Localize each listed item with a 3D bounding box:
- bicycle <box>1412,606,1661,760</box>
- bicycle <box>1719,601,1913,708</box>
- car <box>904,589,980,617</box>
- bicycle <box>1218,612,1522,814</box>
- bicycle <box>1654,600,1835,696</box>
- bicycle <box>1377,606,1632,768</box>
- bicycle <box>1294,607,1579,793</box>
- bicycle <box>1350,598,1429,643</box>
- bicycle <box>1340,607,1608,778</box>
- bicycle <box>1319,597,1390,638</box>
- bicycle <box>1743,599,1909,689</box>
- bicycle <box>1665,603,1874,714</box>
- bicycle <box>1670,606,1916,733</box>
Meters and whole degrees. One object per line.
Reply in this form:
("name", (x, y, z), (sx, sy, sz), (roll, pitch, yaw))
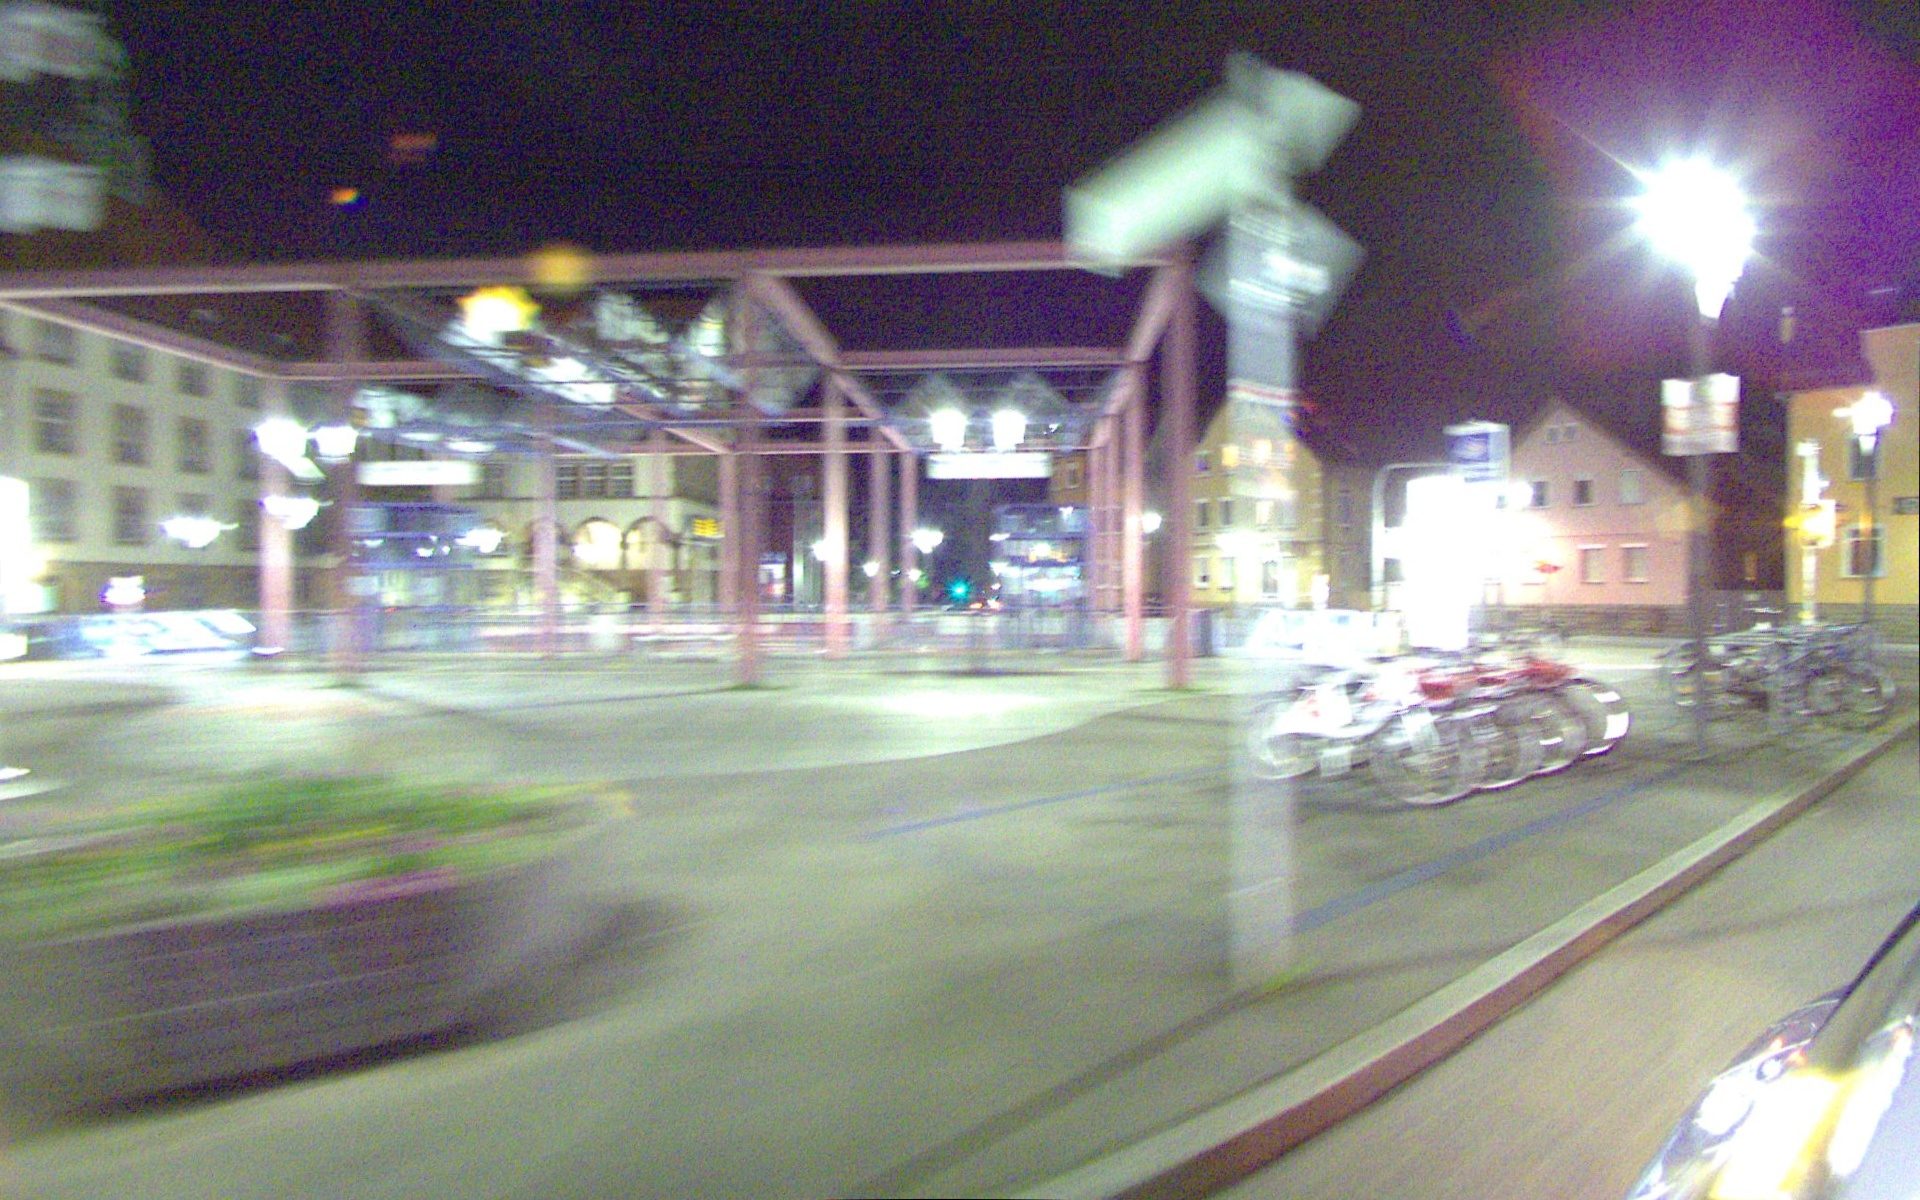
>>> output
("bicycle", (4.884, 0.646, 8.689), (0.571, 1.166, 1.777), (0, 0, -37))
("bicycle", (9.934, 0.592, 11.788), (0.631, 1.149, 1.657), (0, 0, -42))
("car", (-1.073, 0.161, 59.172), (4.214, 1.605, 1.720), (0, 0, 35))
("bicycle", (2.744, 0.679, 6.919), (0.747, 1.166, 1.784), (0, 0, -43))
("bicycle", (10.170, 0.584, 13.170), (0.675, 1.155, 1.772), (0, 0, -42))
("bicycle", (4.407, 0.647, 8.322), (0.571, 1.166, 1.777), (0, 0, -36))
("bicycle", (3.383, 0.644, 7.322), (0.604, 1.166, 1.774), (0, 0, -43))
("bicycle", (11.179, 0.514, 26.338), (1.768, 1.142, 0.650), (0, 0, -2))
("bicycle", (3.935, 0.645, 7.860), (0.572, 1.166, 1.774), (0, 0, -43))
("bicycle", (11.236, 0.501, 28.832), (1.768, 1.142, 0.650), (0, 0, -2))
("bicycle", (11.984, 0.573, 14.035), (0.813, 1.155, 1.657), (0, 0, -42))
("bicycle", (9.128, 0.618, 11.468), (0.619, 1.149, 1.790), (0, 0, -43))
("bicycle", (8.437, 0.651, 10.313), (0.713, 1.149, 1.866), (0, 0, -43))
